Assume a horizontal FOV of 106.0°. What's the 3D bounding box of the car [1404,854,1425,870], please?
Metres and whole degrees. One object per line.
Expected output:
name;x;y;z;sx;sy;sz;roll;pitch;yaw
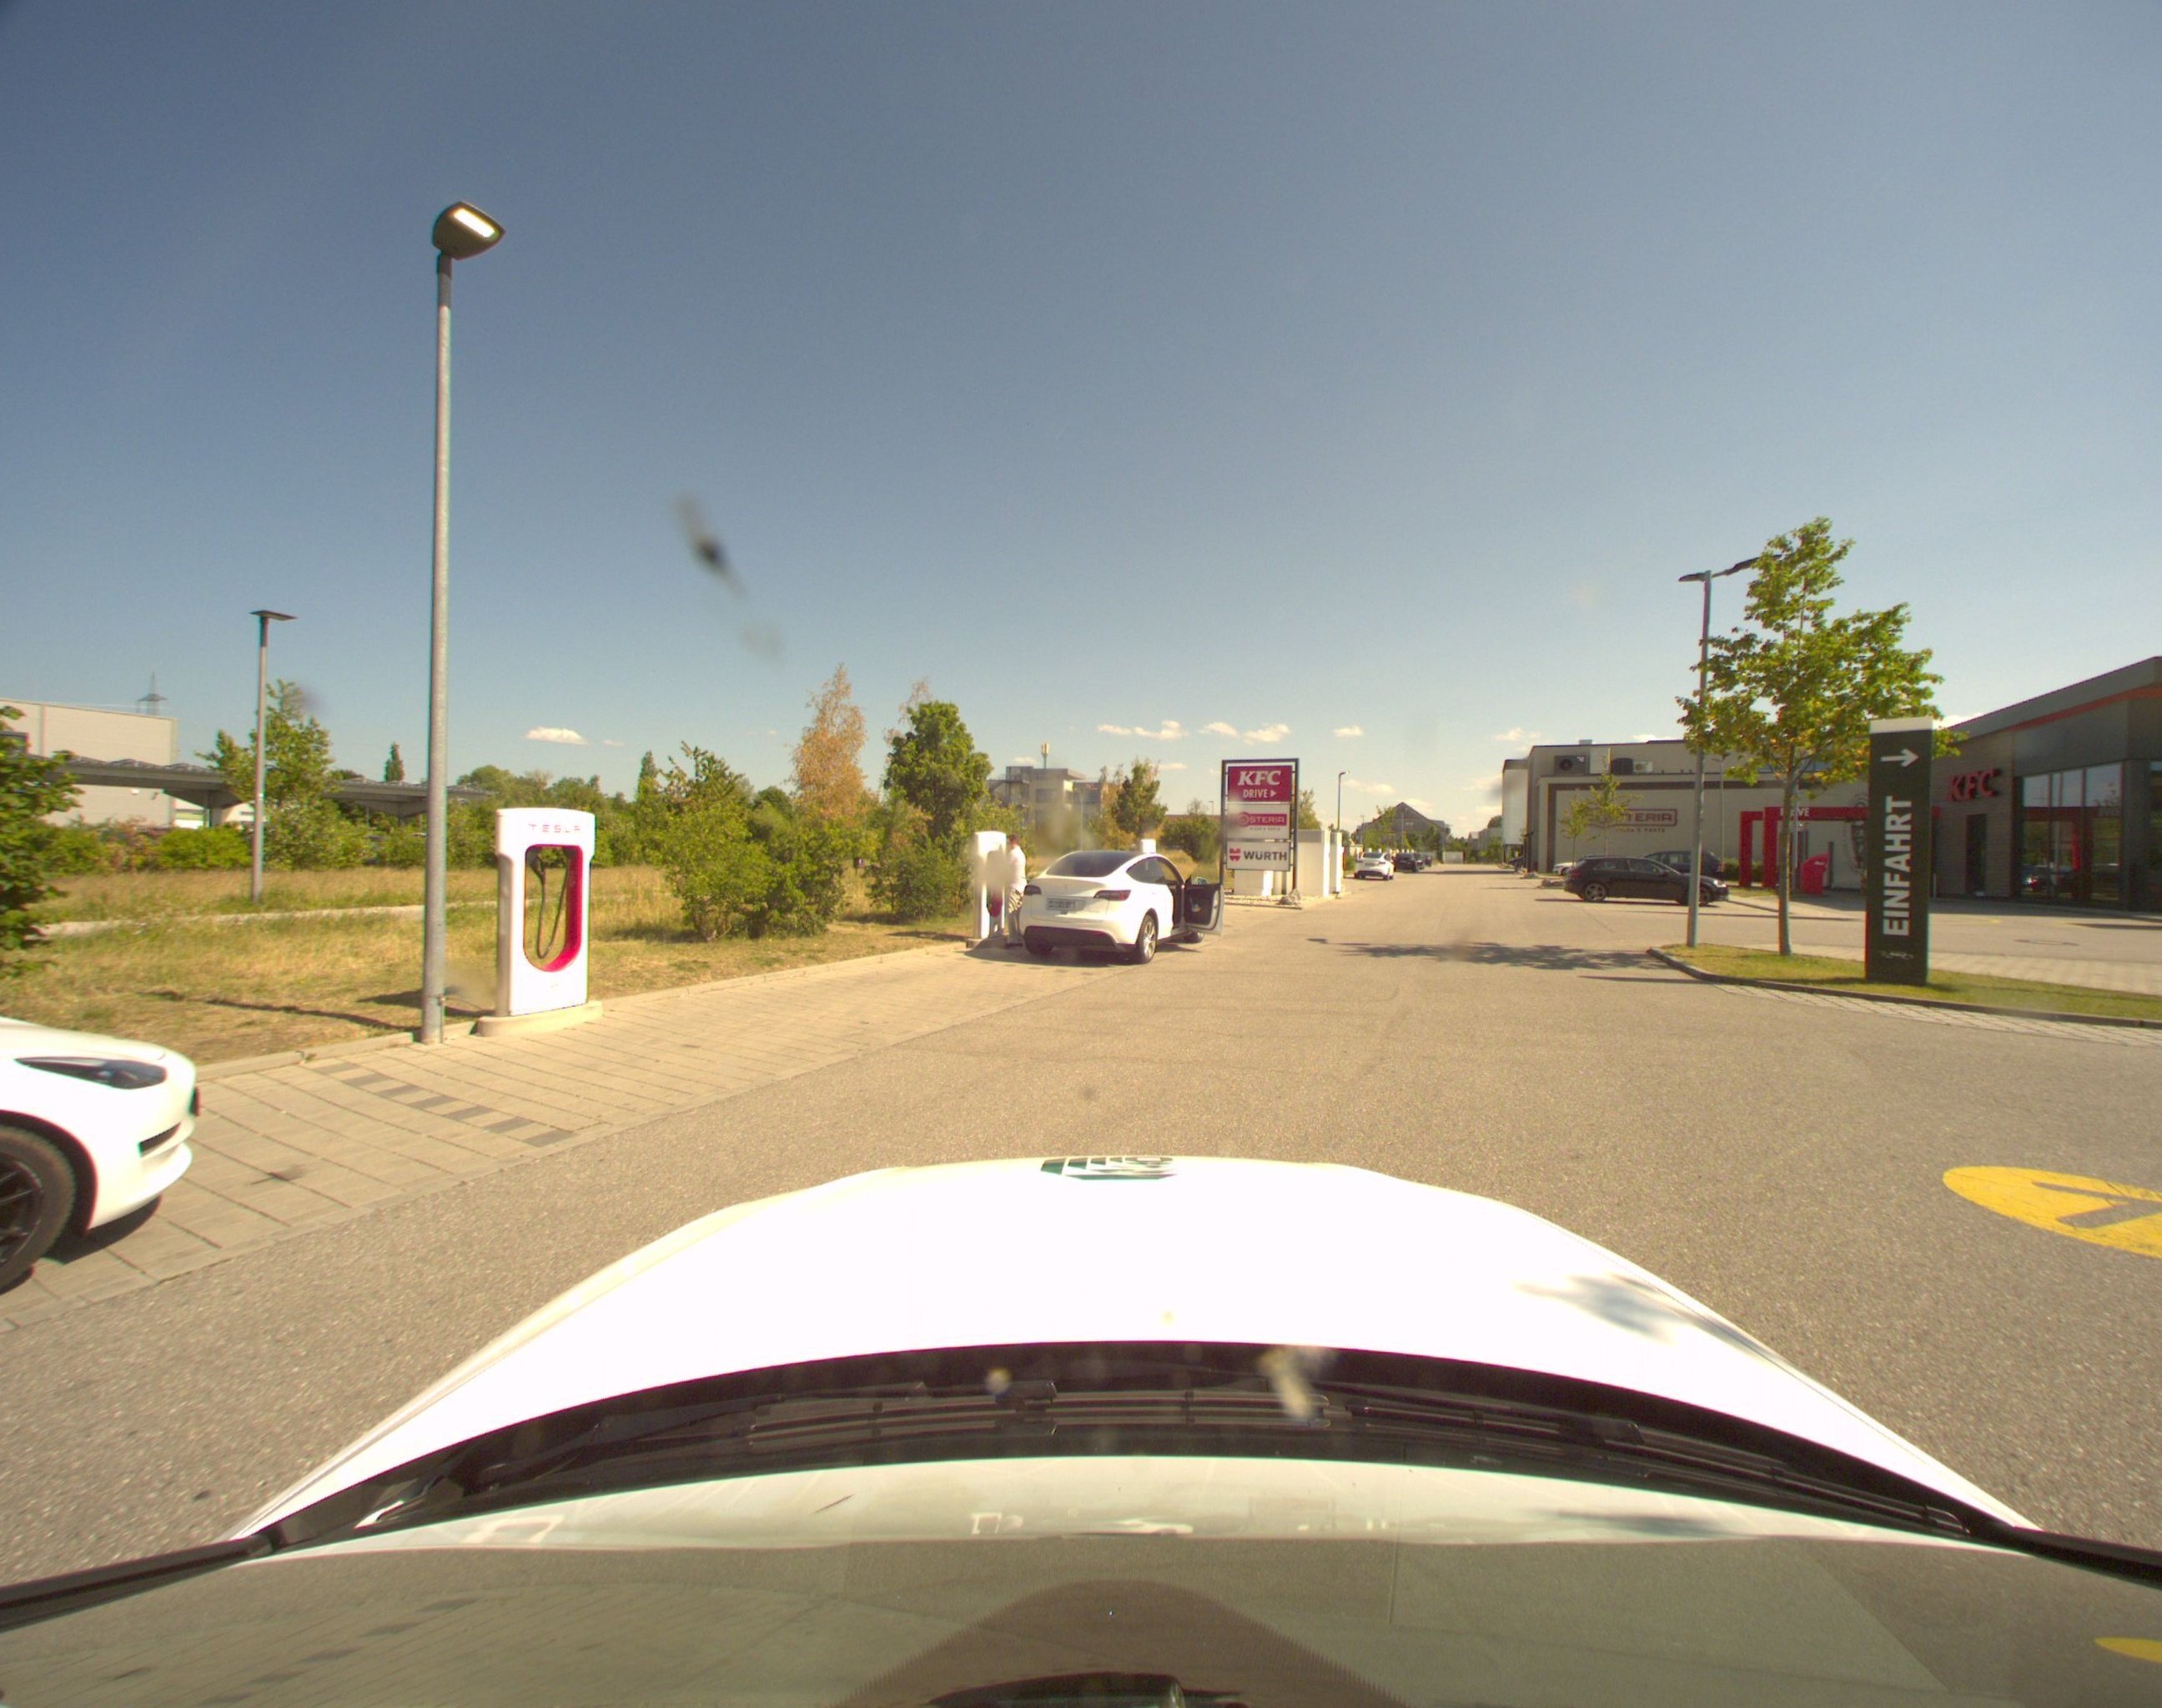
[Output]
car;32.145;0.760;78.426;1.727;1.387;4.023;1;1;24

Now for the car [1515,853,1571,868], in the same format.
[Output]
car;38.765;0.532;68.457;3.951;1.156;2.011;1;1;24

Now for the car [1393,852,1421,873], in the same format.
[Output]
car;27.081;0.679;67.606;1.927;1.568;4.023;1;1;25

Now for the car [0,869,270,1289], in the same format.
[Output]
car;-5.222;0.785;1.819;1.799;1.377;4.475;1;1;28

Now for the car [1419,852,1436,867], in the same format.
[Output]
car;39.935;0.619;93.811;1.727;1.568;4.023;1;1;24

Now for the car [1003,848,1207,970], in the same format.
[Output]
car;0.619;0.729;13.372;1.848;1.600;4.513;1;1;22

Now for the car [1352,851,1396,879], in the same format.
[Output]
car;17.400;0.622;48.255;1.927;1.568;4.024;1;1;26

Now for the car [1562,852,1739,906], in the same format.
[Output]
car;17.114;0.715;24.732;4.162;1.441;1.708;1;1;25

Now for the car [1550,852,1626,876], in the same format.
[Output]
car;32.740;0.627;52.672;3.952;1.420;1.660;1;0;22

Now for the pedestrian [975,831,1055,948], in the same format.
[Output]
pedestrian;-1.065;0.546;13.172;1.023;1.800;0.741;1;0;24

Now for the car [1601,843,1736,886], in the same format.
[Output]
car;24.812;0.398;34.567;4.333;1.685;1.650;1;0;21
